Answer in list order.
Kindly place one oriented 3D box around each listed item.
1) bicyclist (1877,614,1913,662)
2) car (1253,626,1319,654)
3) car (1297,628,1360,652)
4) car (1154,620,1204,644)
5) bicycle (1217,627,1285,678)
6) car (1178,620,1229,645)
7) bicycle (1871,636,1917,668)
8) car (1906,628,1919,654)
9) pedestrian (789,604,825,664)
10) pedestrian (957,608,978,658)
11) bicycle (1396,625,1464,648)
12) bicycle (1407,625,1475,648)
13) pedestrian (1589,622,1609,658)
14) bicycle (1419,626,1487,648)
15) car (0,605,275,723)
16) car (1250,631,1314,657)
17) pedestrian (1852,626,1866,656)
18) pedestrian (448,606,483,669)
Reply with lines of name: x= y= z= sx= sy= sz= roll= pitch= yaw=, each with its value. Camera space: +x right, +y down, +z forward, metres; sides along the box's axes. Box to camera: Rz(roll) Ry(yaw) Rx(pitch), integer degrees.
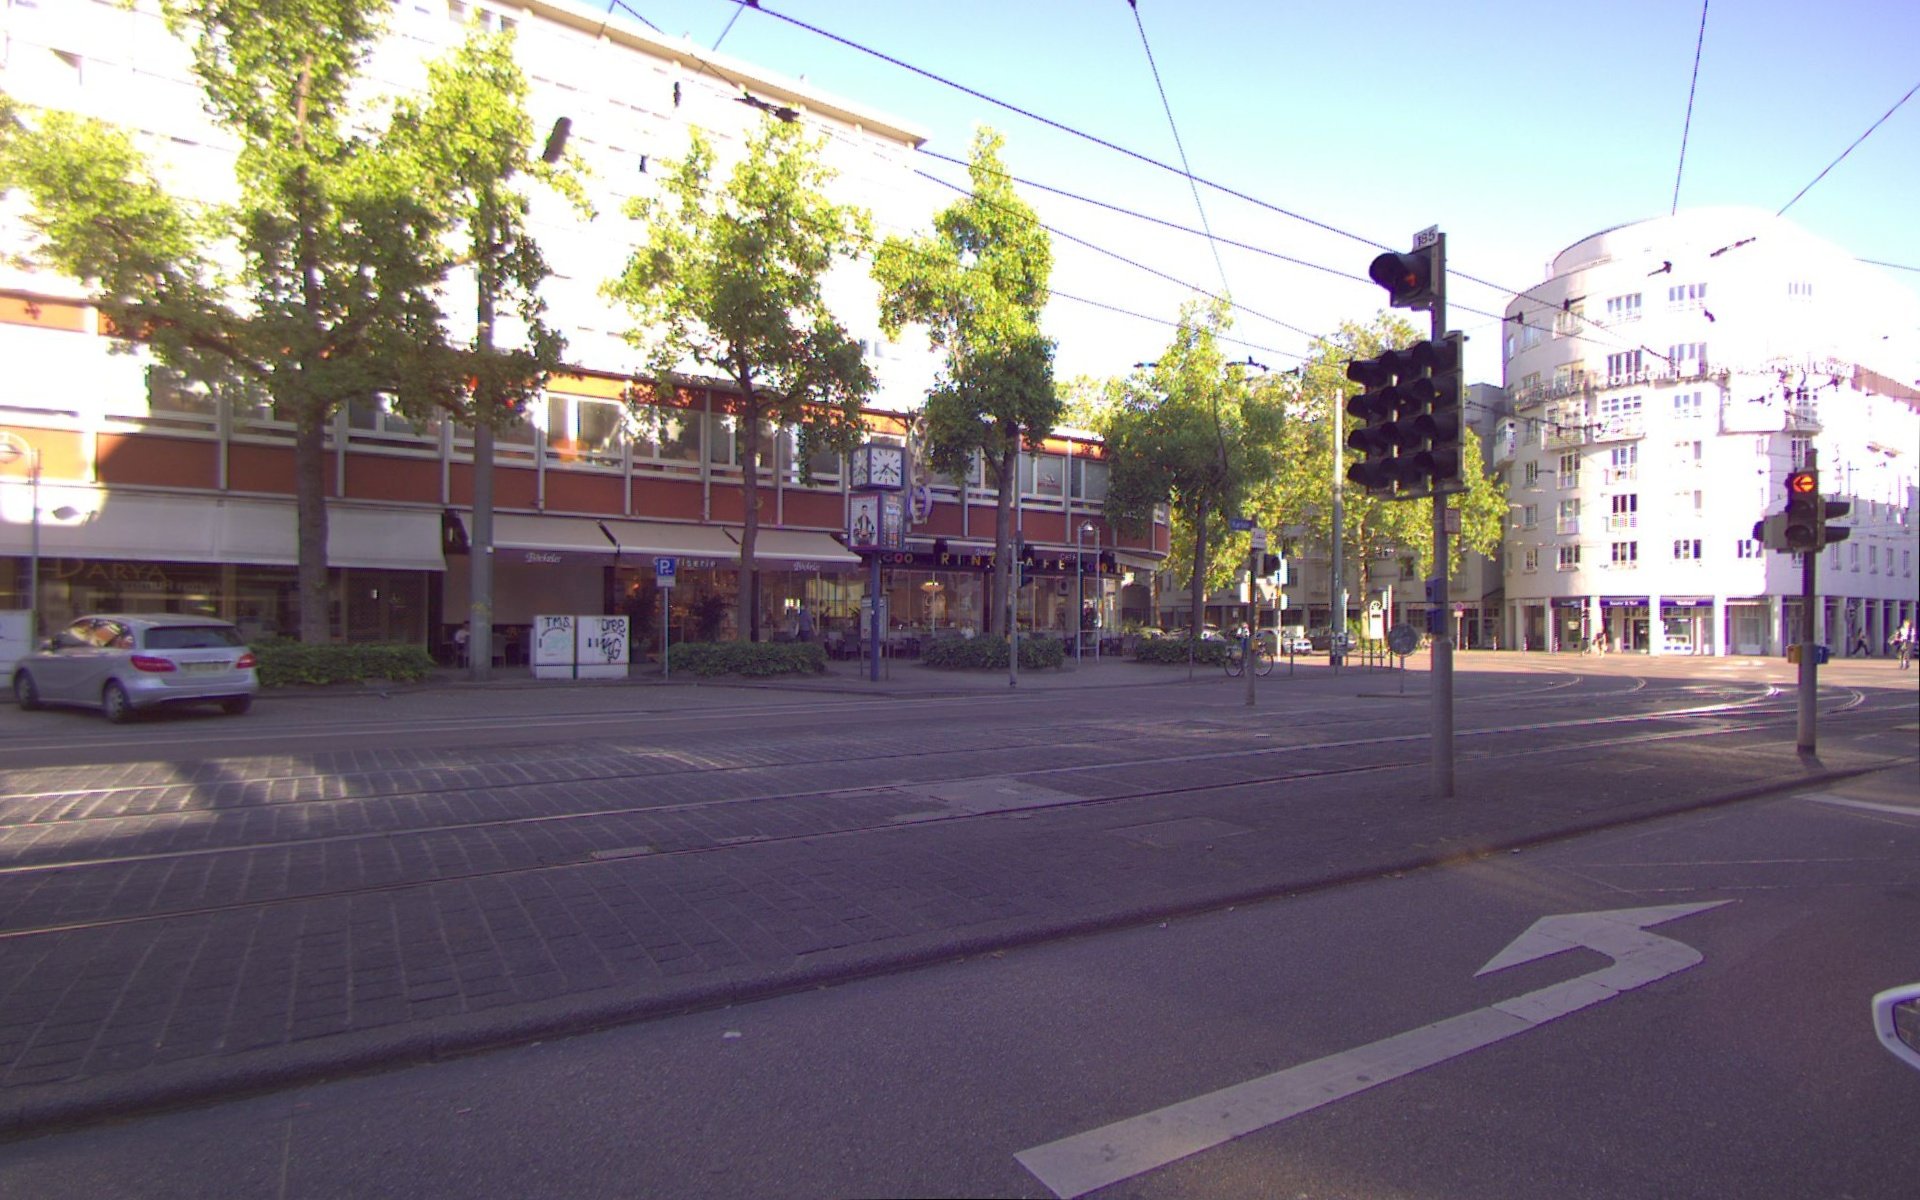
bicyclist: x=34.800 y=1.399 z=37.404 sx=0.785 sy=1.749 sz=0.803 roll=1 pitch=-1 yaw=-32
car: x=19.103 y=2.316 z=59.052 sx=1.605 sy=1.579 sz=4.001 roll=0 pitch=-2 yaw=-19
car: x=24.633 y=2.629 z=67.219 sx=1.595 sy=1.551 sz=3.973 roll=0 pitch=-1 yaw=-27
car: x=18.810 y=2.746 z=86.166 sx=3.954 sy=1.990 sz=1.984 roll=1 pitch=-1 yaw=-31
bicycle: x=8.064 y=1.430 z=27.789 sx=1.884 sy=1.345 sz=0.667 roll=1 pitch=2 yaw=-30
car: x=20.291 y=2.707 z=83.655 sx=3.954 sy=1.990 sz=1.984 roll=1 pitch=-1 yaw=-31
bicycle: x=34.747 y=1.908 z=37.361 sx=2.027 sy=1.162 sz=0.803 roll=1 pitch=-2 yaw=-33
car: x=58.764 y=2.470 z=60.514 sx=3.422 sy=1.566 sz=1.756 roll=1 pitch=-2 yaw=-32
pedestrian: x=-4.554 y=0.984 z=29.908 sx=0.866 sy=1.745 sz=0.700 roll=0 pitch=1 yaw=-34
pedestrian: x=0.265 y=1.141 z=35.232 sx=0.590 sy=1.745 sz=0.647 roll=0 pitch=1 yaw=-14
bicycle: x=33.321 y=2.591 z=71.362 sx=1.053 sy=1.550 sz=4.684 roll=1 pitch=-2 yaw=-28
bicycle: x=34.351 y=2.597 z=71.826 sx=1.053 sy=1.550 sz=4.684 roll=1 pitch=-2 yaw=-28
pedestrian: x=36.628 y=2.295 z=57.607 sx=0.930 sy=2.040 sz=0.939 roll=0 pitch=-1 yaw=30
bicycle: x=35.629 y=2.637 z=72.664 sx=1.053 sy=1.550 sz=4.684 roll=1 pitch=-2 yaw=-28
car: x=-13.118 y=0.936 z=15.990 sx=4.200 sy=1.587 sz=1.825 roll=1 pitch=-1 yaw=26
car: x=17.237 y=2.325 z=53.940 sx=1.738 sy=1.312 sz=4.014 roll=0 pitch=-2 yaw=-7
pedestrian: x=52.185 y=2.388 z=58.298 sx=0.482 sy=1.704 sz=0.519 roll=1 pitch=-1 yaw=-40
pedestrian: x=-12.840 y=0.966 z=26.086 sx=0.699 sy=1.584 sz=0.867 roll=1 pitch=-1 yaw=-33
